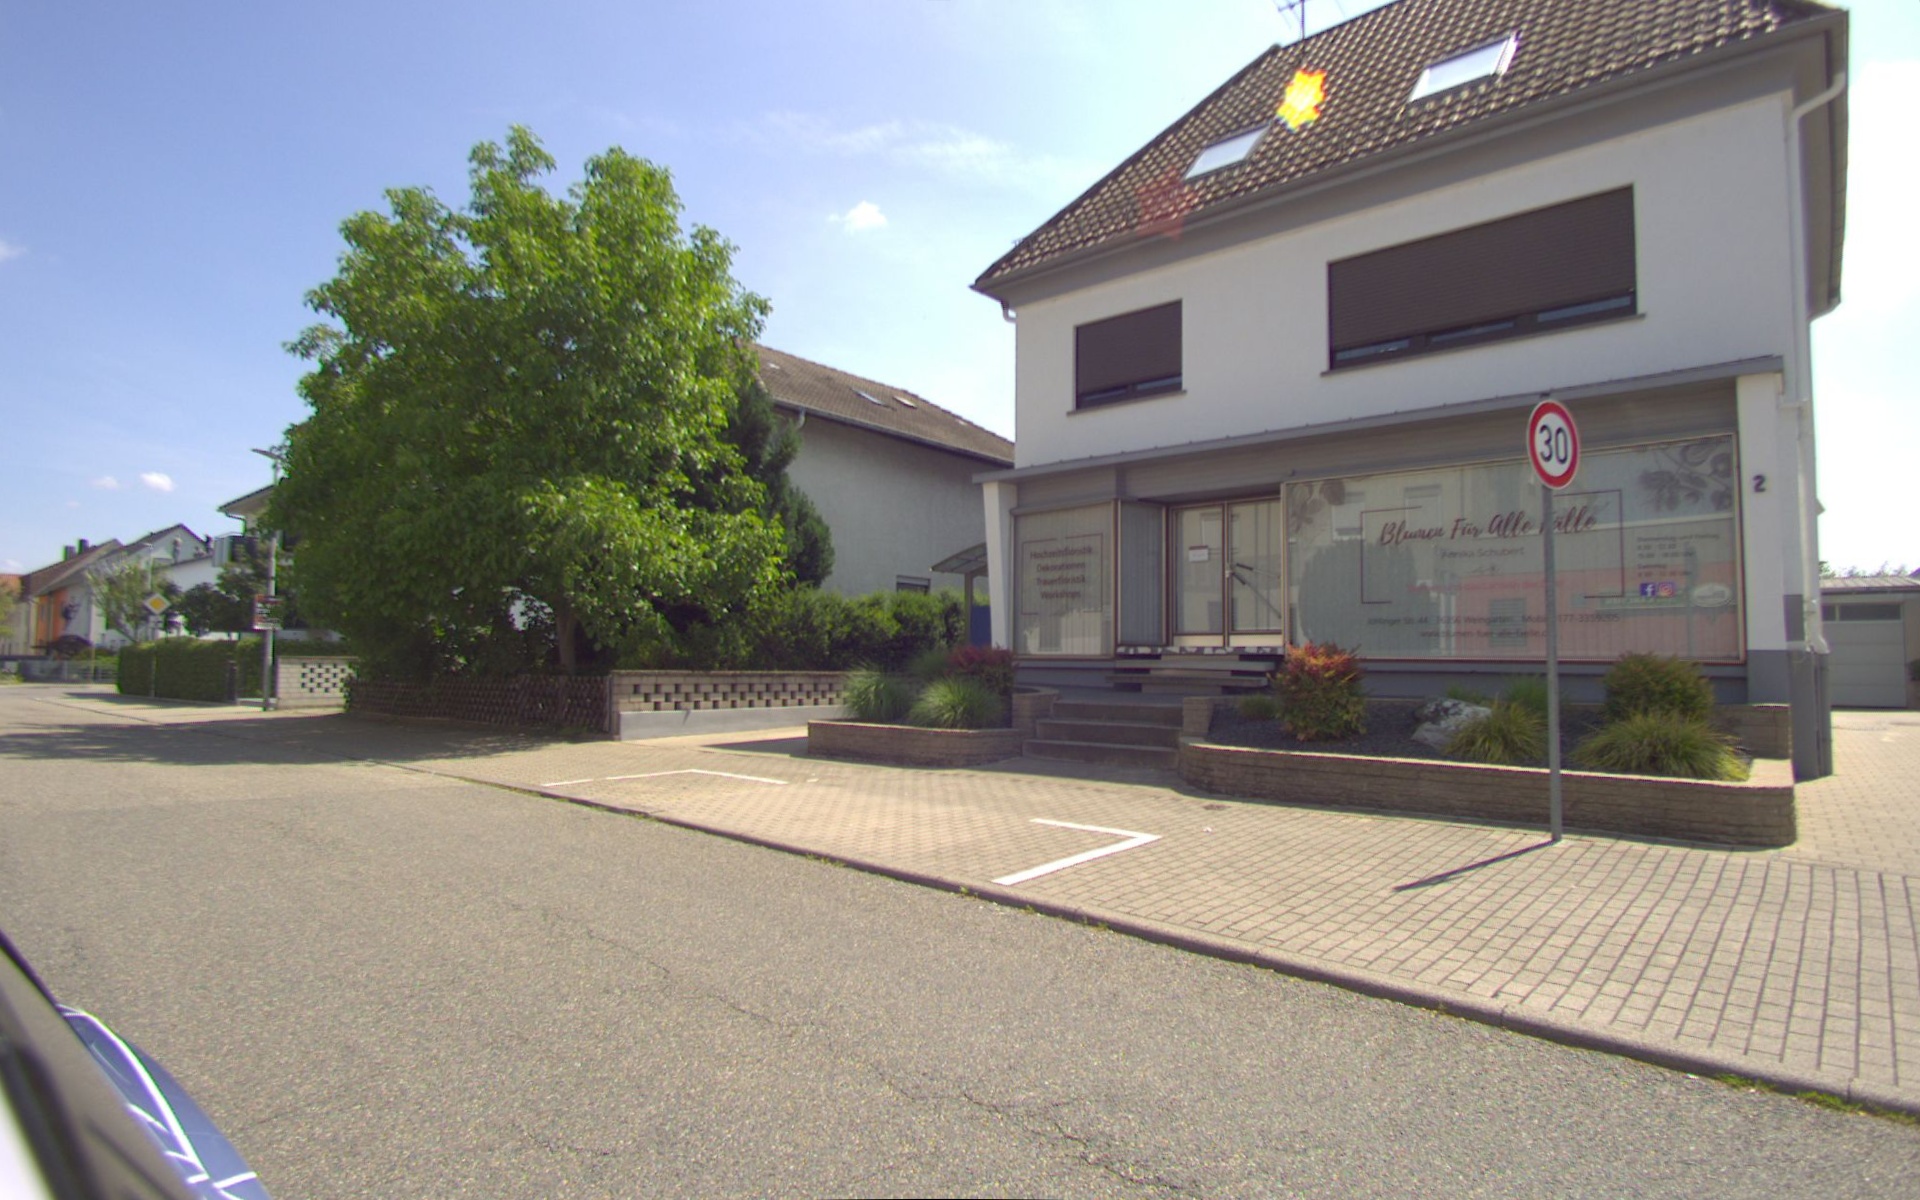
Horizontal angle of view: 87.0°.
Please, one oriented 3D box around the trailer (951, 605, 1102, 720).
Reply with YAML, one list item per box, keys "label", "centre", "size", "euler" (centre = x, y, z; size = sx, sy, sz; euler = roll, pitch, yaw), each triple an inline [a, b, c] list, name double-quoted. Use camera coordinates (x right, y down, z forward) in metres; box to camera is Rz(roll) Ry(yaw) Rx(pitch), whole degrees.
- label: "trailer"
  centre: [1.408, 1.229, 20.555]
  size: [1.671, 2.129, 3.140]
  euler: [-2, -3, 35]
